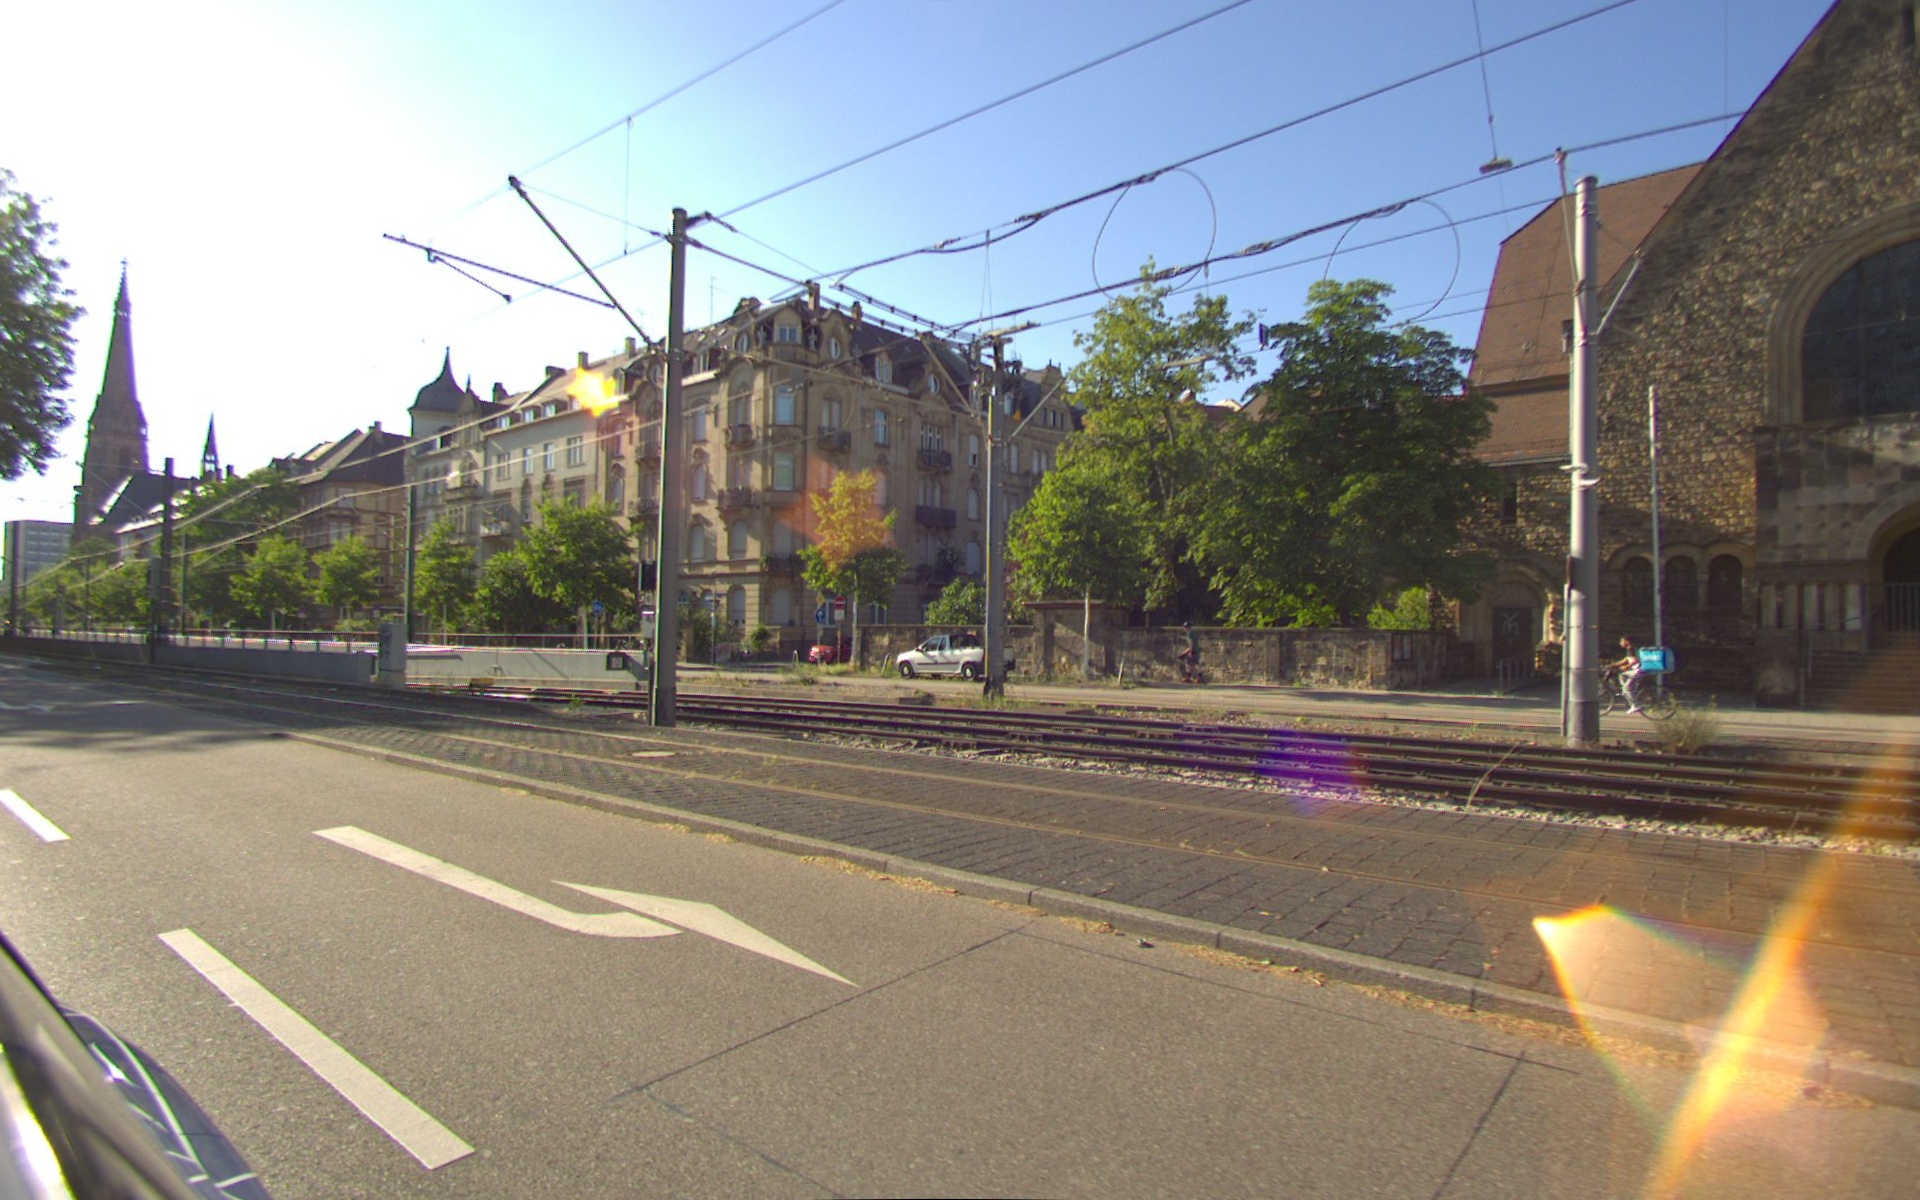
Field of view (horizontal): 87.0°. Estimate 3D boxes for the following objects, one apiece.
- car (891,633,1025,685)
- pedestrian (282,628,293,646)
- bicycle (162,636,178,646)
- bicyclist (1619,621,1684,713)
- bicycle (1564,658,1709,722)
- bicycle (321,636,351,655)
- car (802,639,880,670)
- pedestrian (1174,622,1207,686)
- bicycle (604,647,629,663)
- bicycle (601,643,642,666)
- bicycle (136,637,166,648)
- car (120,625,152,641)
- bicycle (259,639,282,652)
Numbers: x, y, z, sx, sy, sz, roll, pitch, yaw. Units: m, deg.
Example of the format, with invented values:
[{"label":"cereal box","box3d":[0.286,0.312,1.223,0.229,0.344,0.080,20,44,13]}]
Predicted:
[{"label":"car","box3d":[-0.122,1.925,33.979,4.509,1.567,1.697,-1,-1,42]},{"label":"pedestrian","box3d":[-63.386,3.473,95.441,0.710,1.701,0.865,-1,-1,-44]},{"label":"bicycle","box3d":[-79.275,4.108,101.596,0.533,0.912,1.265,-1,0,10]},{"label":"bicyclist","box3d":[13.511,1.307,19.782,0.624,1.736,0.916,5,-5,-43]},{"label":"bicycle","box3d":[13.306,1.748,19.967,0.624,1.153,2.281,5,-5,-43]},{"label":"bicycle","box3d":[-43.915,3.201,71.253,1.710,1.289,0.600,3,-3,-44]},{"label":"car","box3d":[-6.248,2.860,53.489,1.817,1.581,3.948,-1,-3,39]},{"label":"pedestrian","box3d":[7.032,1.634,30.869,0.757,1.902,0.598,-2,-1,43]},{"label":"bicycle","box3d":[-18.164,2.910,53.555,1.887,0.806,0.412,-2,-1,43]},{"label":"bicycle","box3d":[-15.823,2.553,47.311,1.876,1.030,0.484,-1,0,17]},{"label":"bicycle","box3d":[-83.475,4.373,104.486,0.635,1.107,2.780,-1,0,7]},{"label":"car","box3d":[-89.335,3.558,109.717,3.995,1.597,1.815,-1,0,38]},{"label":"bicycle","box3d":[-62.103,4.094,91.118,1.922,1.013,0.454,2,0,10]}]
